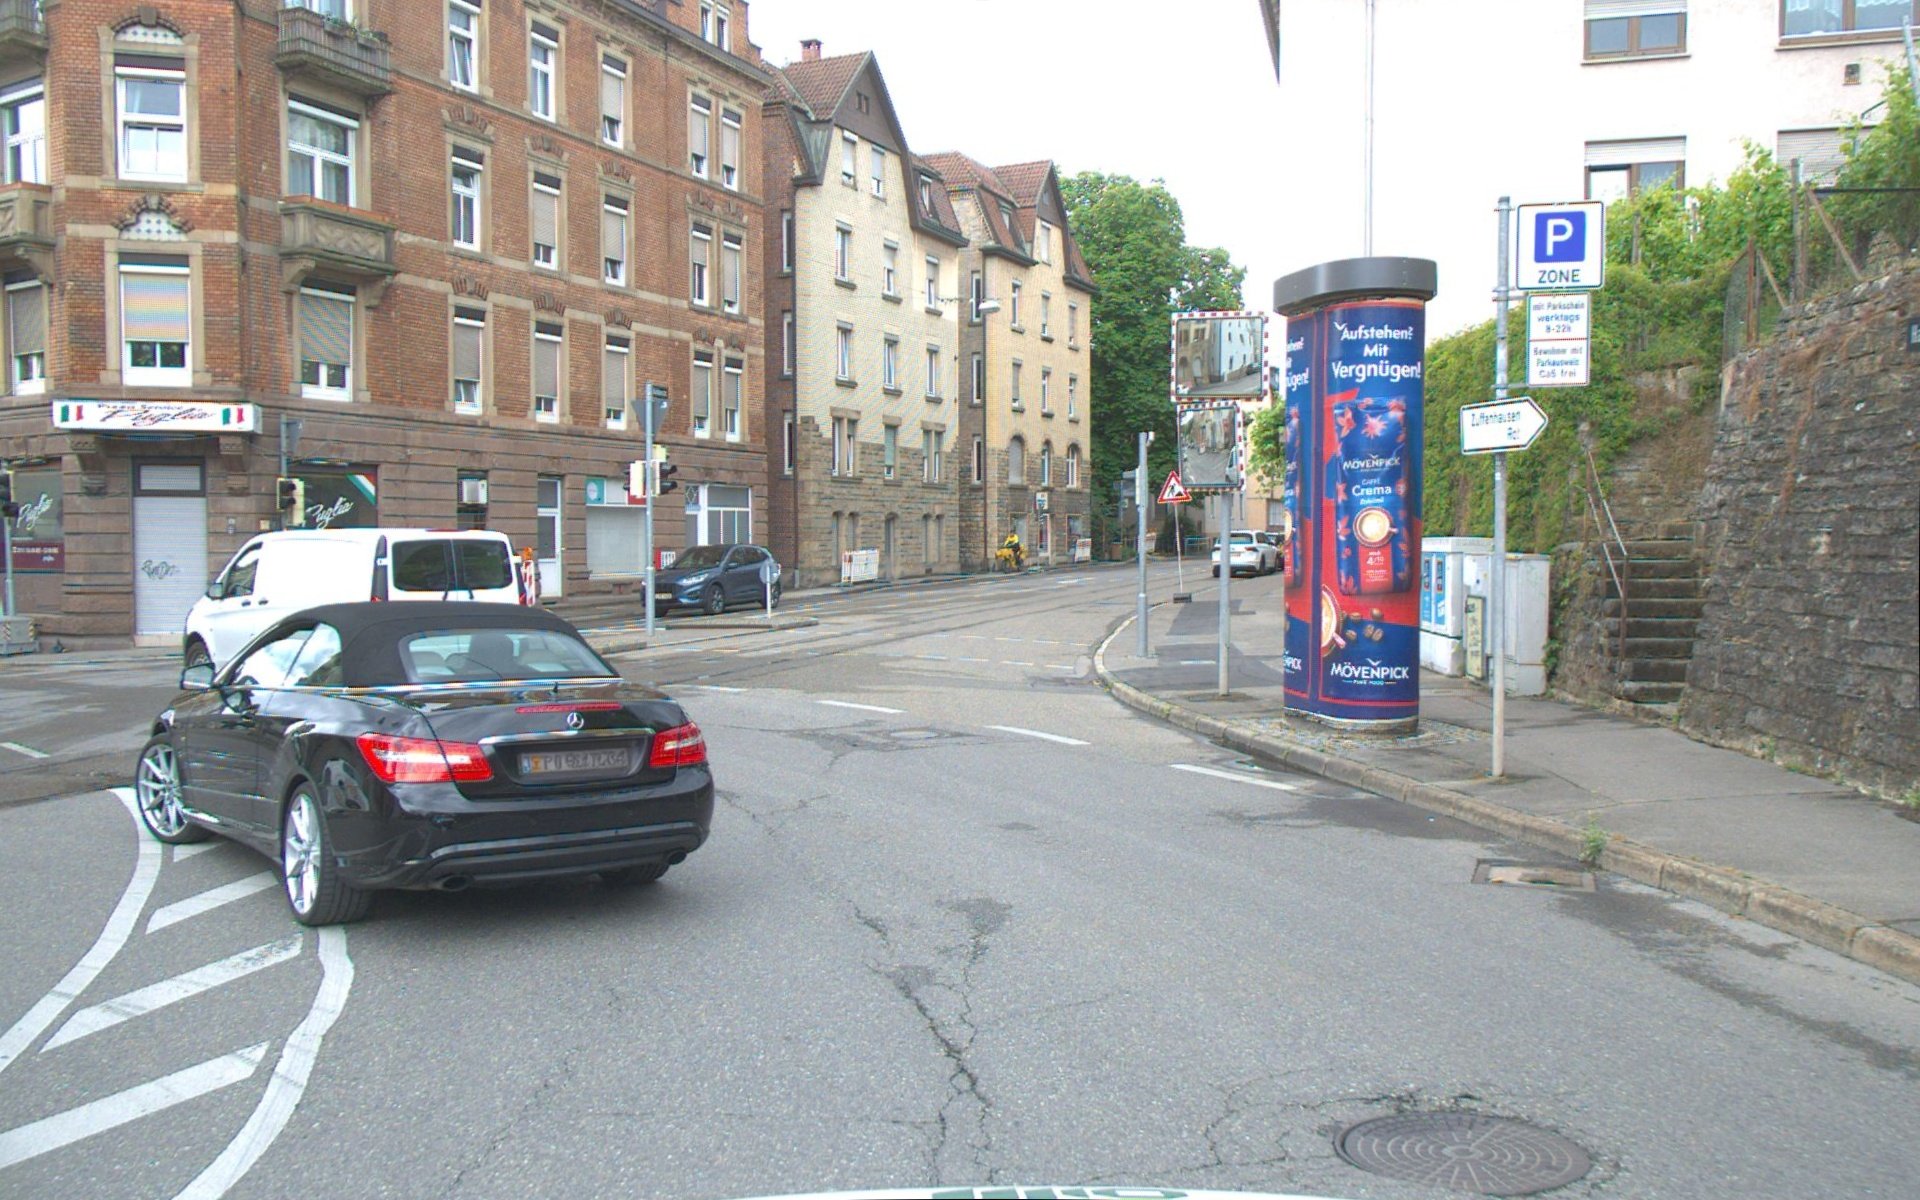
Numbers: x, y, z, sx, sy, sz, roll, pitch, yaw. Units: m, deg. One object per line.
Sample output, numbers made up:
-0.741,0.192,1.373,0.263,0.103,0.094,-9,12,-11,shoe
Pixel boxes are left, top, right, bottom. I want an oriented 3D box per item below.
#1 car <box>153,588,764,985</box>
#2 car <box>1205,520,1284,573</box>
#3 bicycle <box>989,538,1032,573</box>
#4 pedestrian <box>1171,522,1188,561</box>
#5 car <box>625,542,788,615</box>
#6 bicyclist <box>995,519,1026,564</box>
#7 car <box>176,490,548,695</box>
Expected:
-2.872,0.771,8.706,1.748,1.433,4.344,-4,1,-35,car
10.302,-1.938,59.699,1.909,1.748,4.000,-2,1,23,car
2.091,-1.821,67.585,0.619,1.329,2.596,-3,1,28,bicycle
12.043,-3.205,90.751,0.748,2.048,0.754,-3,1,13,pedestrian
-6.116,-0.556,40.416,1.953,1.541,4.286,-2,2,22,car
2.076,-2.395,67.669,0.925,1.732,0.785,-3,1,27,bicyclist
-6.684,-0.039,18.214,4.563,1.962,1.887,-3,1,43,car
